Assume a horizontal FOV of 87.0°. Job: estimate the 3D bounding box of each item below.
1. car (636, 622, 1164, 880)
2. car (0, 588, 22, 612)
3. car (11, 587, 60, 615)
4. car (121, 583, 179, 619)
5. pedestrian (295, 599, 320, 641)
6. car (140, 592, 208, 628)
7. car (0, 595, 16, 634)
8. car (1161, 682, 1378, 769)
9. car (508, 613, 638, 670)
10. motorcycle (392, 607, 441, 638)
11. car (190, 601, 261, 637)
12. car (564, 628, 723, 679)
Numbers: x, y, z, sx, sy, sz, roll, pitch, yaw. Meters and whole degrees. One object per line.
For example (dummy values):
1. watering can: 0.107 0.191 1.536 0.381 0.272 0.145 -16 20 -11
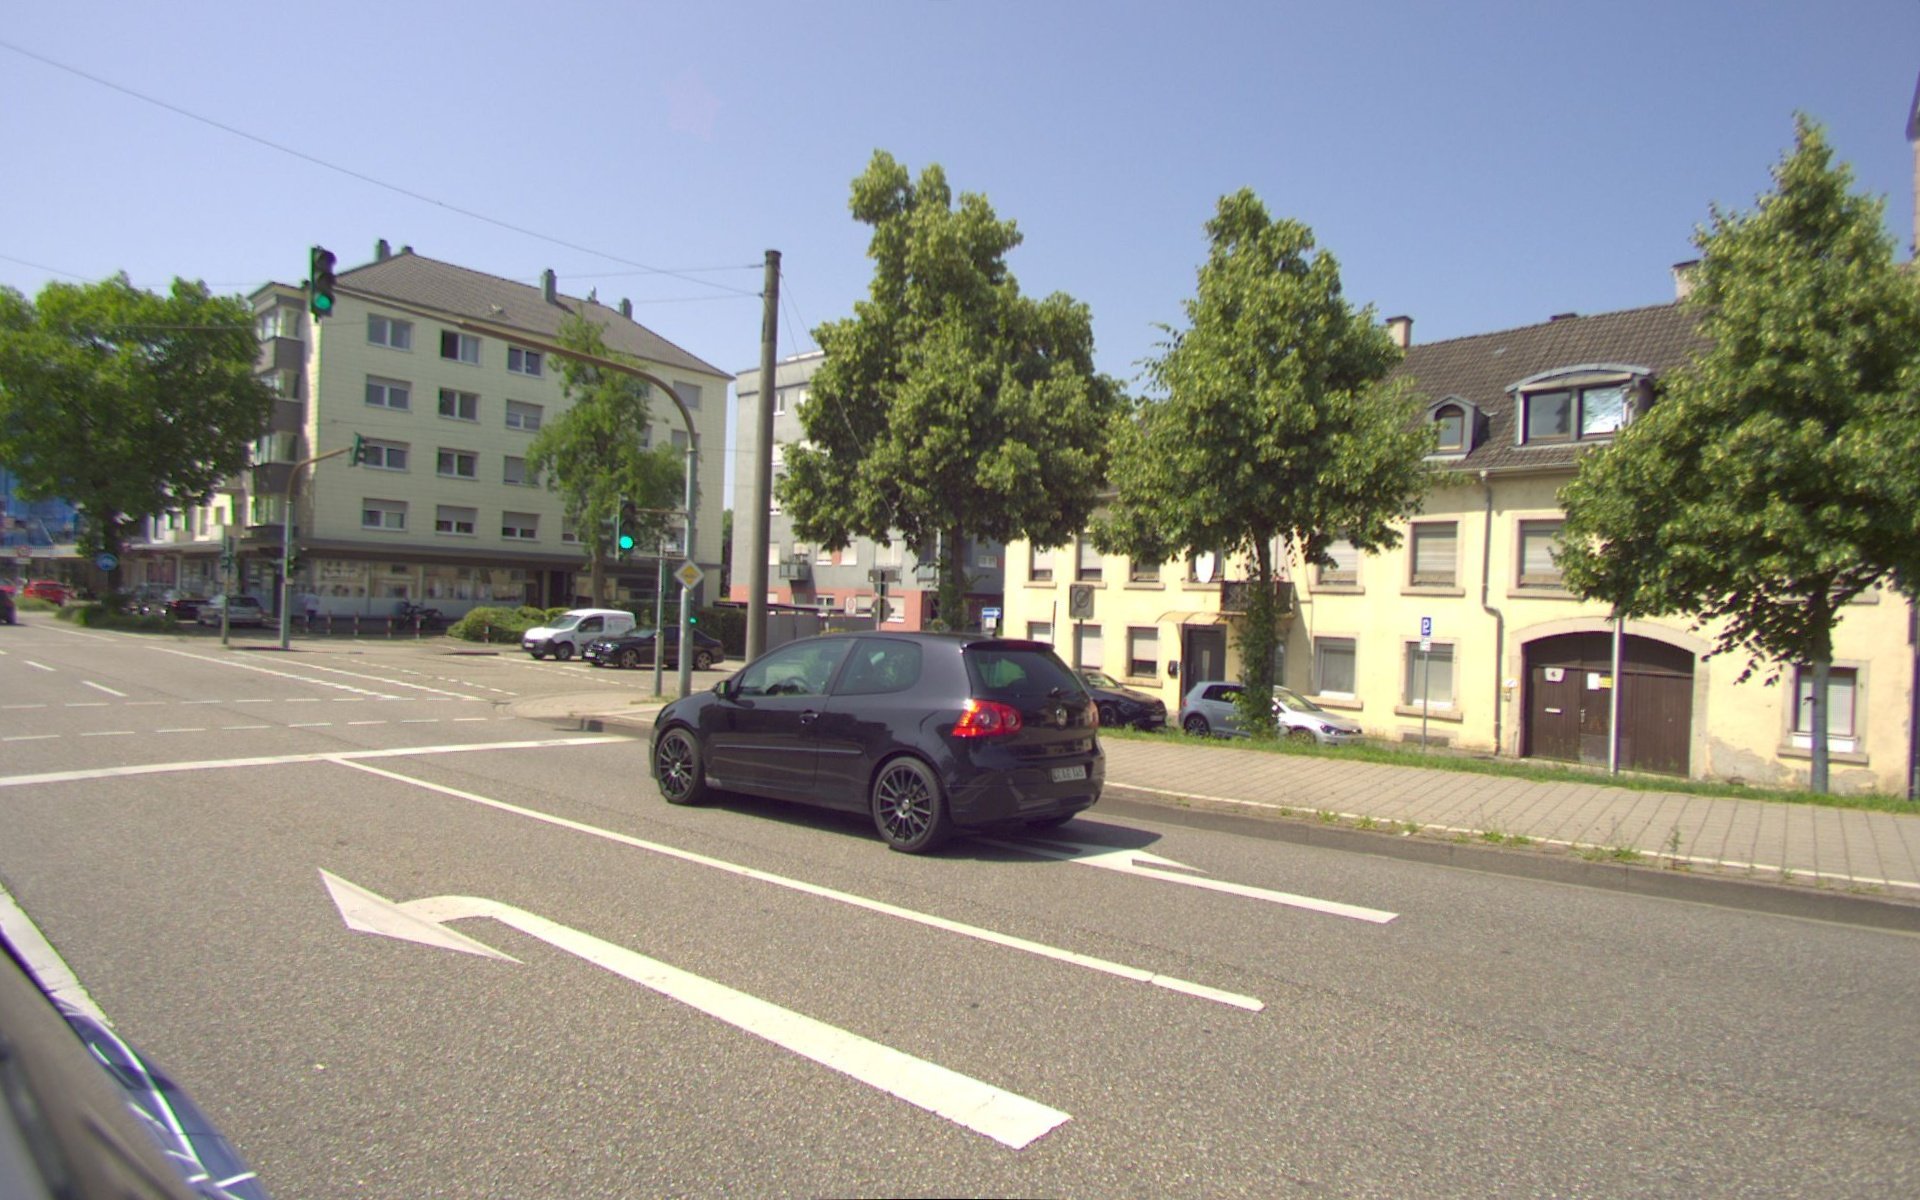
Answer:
1. car: -0.623 0.977 7.868 4.028 1.496 1.696 -2 -5 40
2. car: -62.681 -0.031 65.666 4.326 1.531 1.890 1 -1 37
3. car: -54.127 0.063 59.218 3.632 1.479 1.618 2 -1 40
4. car: -43.047 0.039 53.752 3.856 1.853 1.623 1 0 39
5. pedestrian: -27.926 0.860 43.304 0.742 1.773 0.621 0 -2 39
6. car: -38.698 0.490 49.787 4.835 1.581 1.606 2 -1 40
7. car: -36.898 0.451 37.644 4.042 1.410 1.820 1 -3 36
8. car: 6.890 2.754 22.914 1.755 1.443 4.434 1 -1 -43
9. car: -13.276 1.447 34.895 1.891 1.748 3.651 2 -3 37
10. motorcycle: -25.845 1.078 48.148 0.714 1.431 1.895 3 1 40
11. car: -32.523 0.825 44.791 3.936 1.469 1.567 2 -1 39
12. car: -10.262 1.779 33.154 2.112 1.411 4.564 2 -3 35
